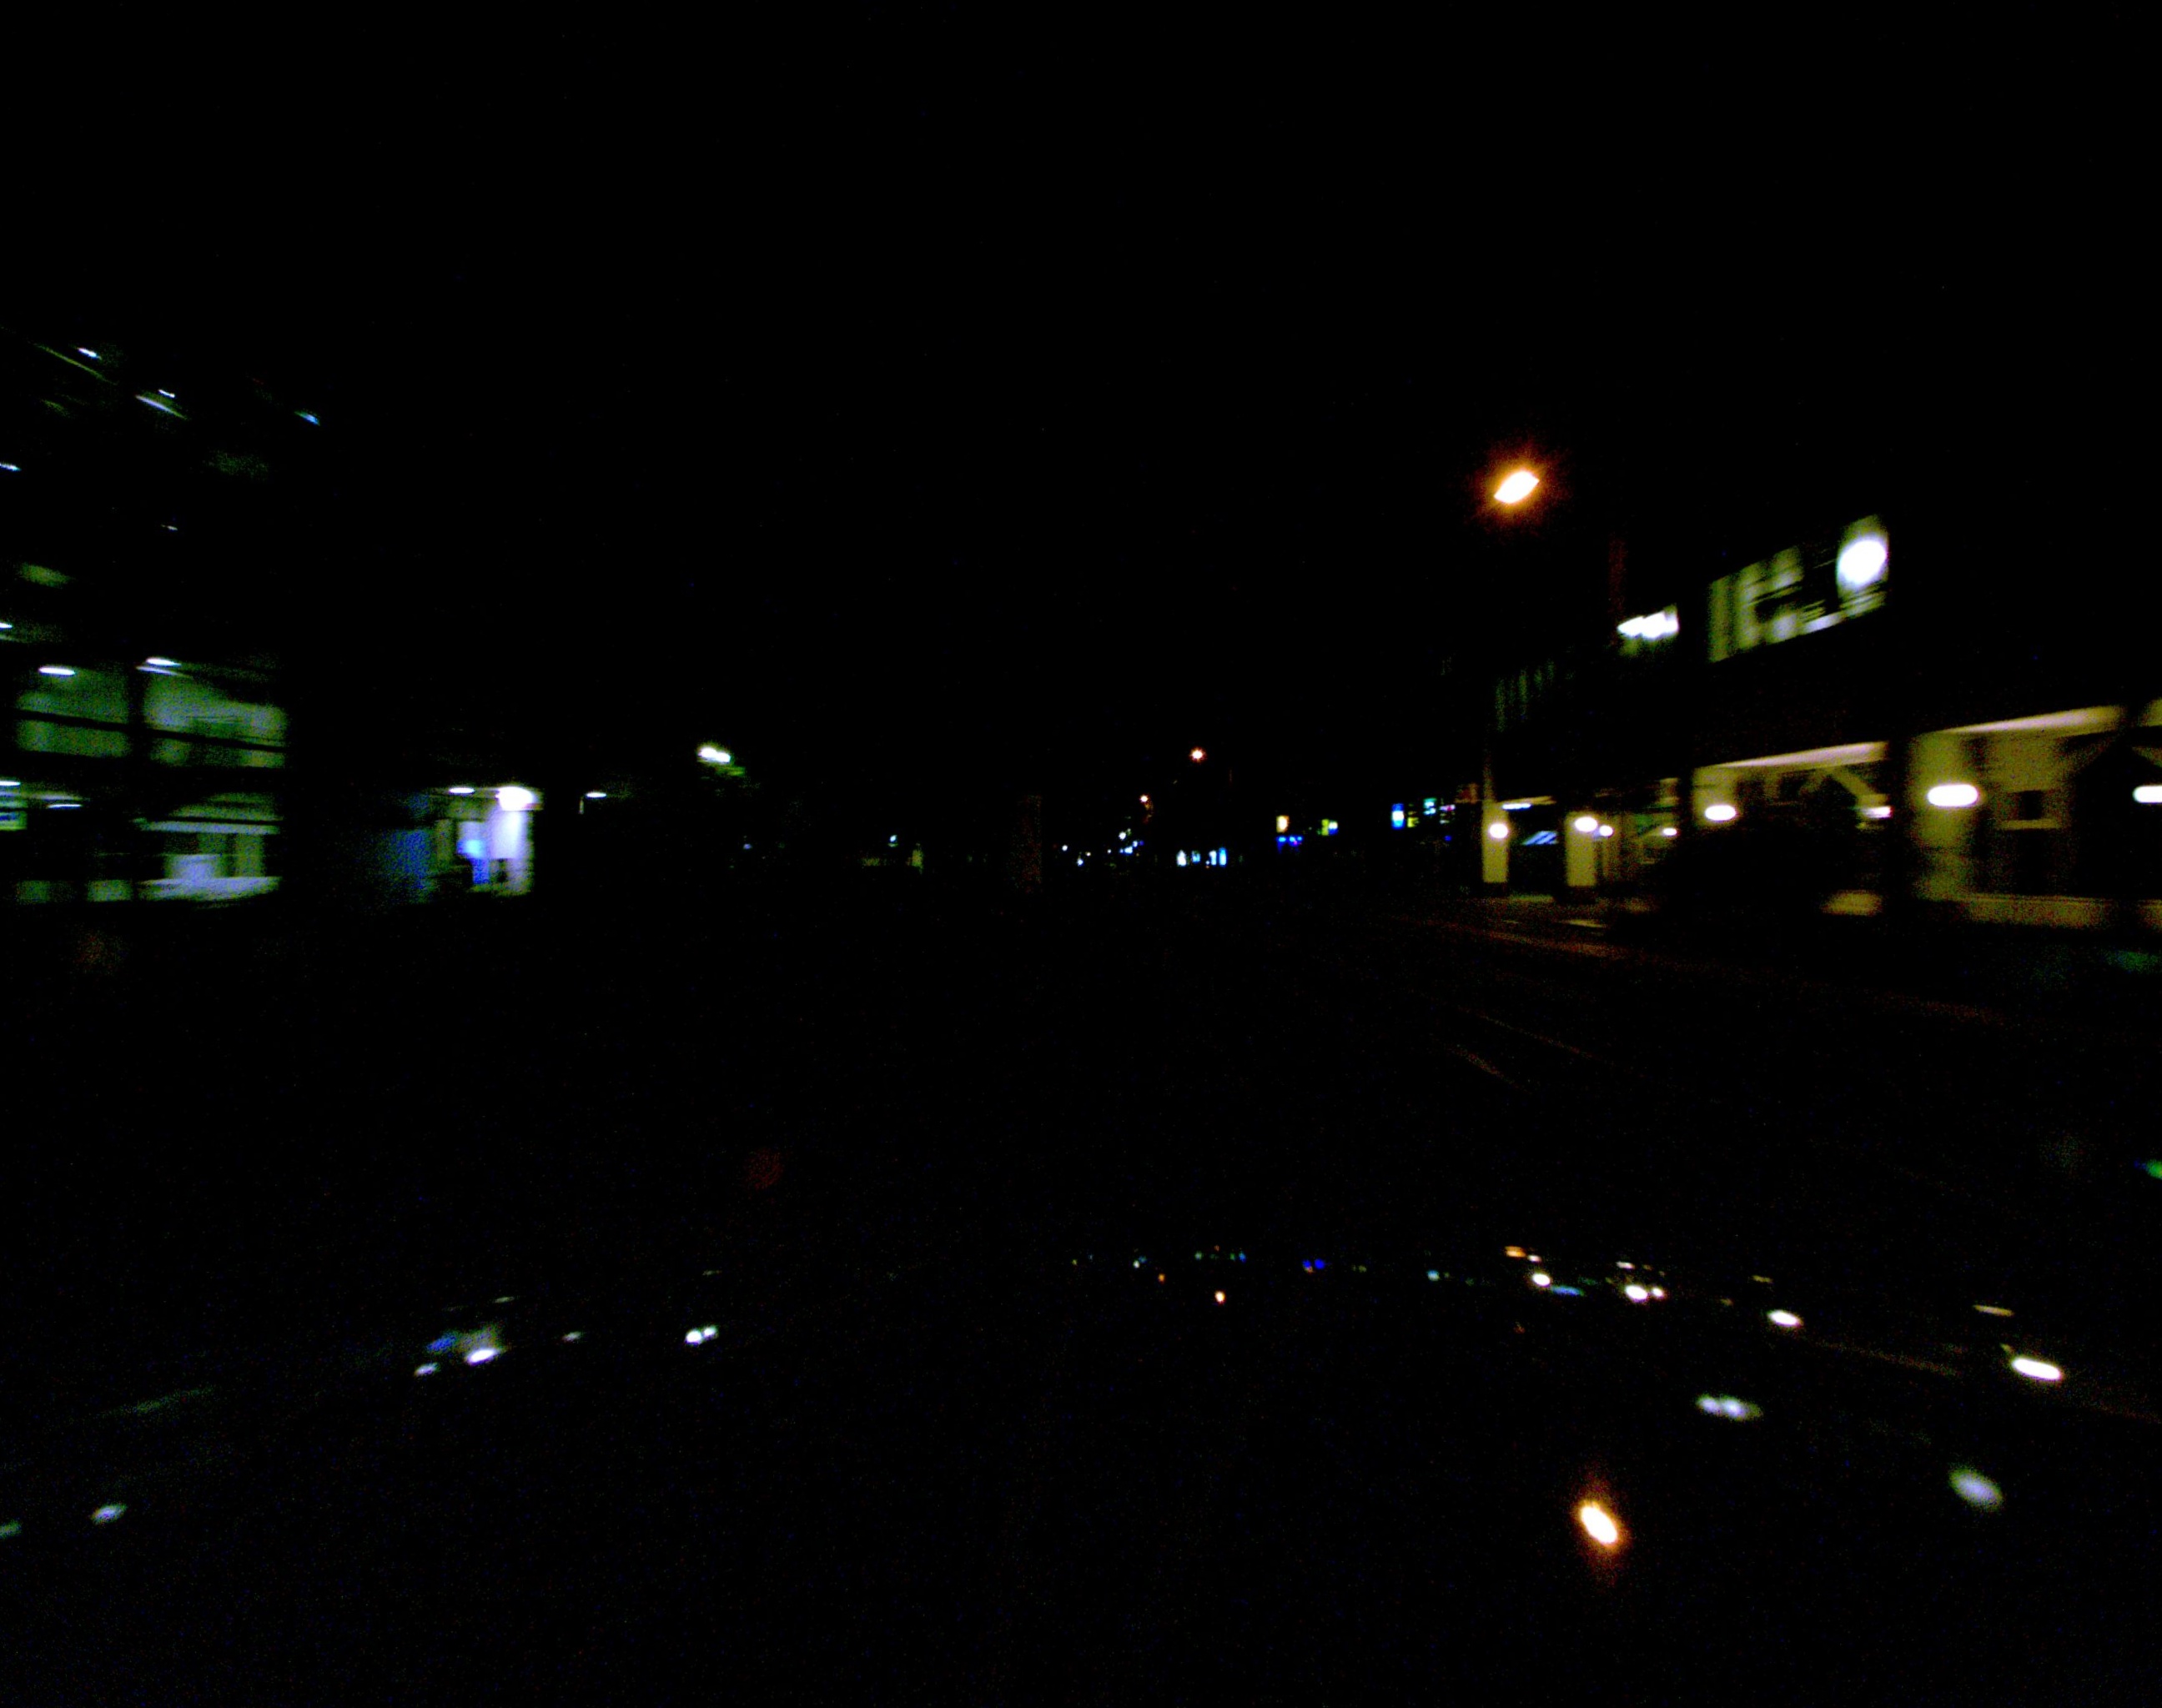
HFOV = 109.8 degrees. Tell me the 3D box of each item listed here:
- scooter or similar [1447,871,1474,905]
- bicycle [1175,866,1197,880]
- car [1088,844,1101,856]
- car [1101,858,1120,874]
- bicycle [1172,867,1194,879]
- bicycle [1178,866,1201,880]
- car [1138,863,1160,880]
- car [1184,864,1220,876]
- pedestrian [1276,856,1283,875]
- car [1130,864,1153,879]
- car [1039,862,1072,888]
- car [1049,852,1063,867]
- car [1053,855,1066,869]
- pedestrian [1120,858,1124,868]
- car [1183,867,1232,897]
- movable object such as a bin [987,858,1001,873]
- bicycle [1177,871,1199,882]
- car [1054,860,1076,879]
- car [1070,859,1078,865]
[{"bbox_3d":[14.306,1.268,28.667,0.388,1.214,1.344,0,0,2],"label":"scooter or similar"},{"bbox_3d":[9.334,1.660,67.706,1.855,1.246,0.532,0,0,-1],"label":"bicycle"},{"bbox_3d":[2.330,-0.736,132.554,1.930,1.953,5.076,-1,0,-1],"label":"car"},{"bbox_3d":[4.163,1.715,108.418,1.858,2.075,5.088,-2,0,-6],"label":"car"},{"bbox_3d":[9.158,1.671,68.321,1.855,1.029,0.532,-2,0,-1],"label":"bicycle"},{"bbox_3d":[9.446,1.669,66.198,1.855,1.159,0.532,0,0,-1],"label":"bicycle"},{"bbox_3d":[6.430,1.641,72.023,1.726,1.420,3.976,-2,0,0],"label":"car"},{"bbox_3d":[15.719,2.078,98.680,4.340,1.389,1.803,0,0,-1],"label":"car"},{"bbox_3d":[16.463,0.961,63.032,0.479,1.626,0.632,0,0,0],"label":"pedestrian"},{"bbox_3d":[6.126,1.738,77.183,1.811,1.416,4.921,-2,0,0],"label":"car"},{"bbox_3d":[-1.484,1.207,45.278,1.768,1.406,4.808,1,0,0],"label":"car"},{"bbox_3d":[-4.121,0.937,123.577,2.140,2.312,5.150,0,0,-4],"label":"car"},{"bbox_3d":[-2.935,1.133,105.696,1.793,1.811,4.579,0,0,-1],"label":"car"},{"bbox_3d":[6.895,1.520,128.090,0.720,1.795,0.716,0,0,0],"label":"pedestrian"},{"bbox_3d":[6.466,1.415,39.273,1.745,1.405,4.496,-1,0,0],"label":"car"},{"bbox_3d":[-8.065,1.019,70.349,1.163,1.363,0.993,-1,0,-2],"label":"movable object such as a bin"},{"bbox_3d":[9.402,1.964,66.718,1.855,0.962,0.501,0,0,-1],"label":"bicycle"},{"bbox_3d":[-1.338,1.270,64.349,1.694,1.527,4.016,1,0,0],"label":"car"},{"bbox_3d":[-1.878,2.157,201.746,1.737,1.492,4.002,0,0,4],"label":"car"}]
